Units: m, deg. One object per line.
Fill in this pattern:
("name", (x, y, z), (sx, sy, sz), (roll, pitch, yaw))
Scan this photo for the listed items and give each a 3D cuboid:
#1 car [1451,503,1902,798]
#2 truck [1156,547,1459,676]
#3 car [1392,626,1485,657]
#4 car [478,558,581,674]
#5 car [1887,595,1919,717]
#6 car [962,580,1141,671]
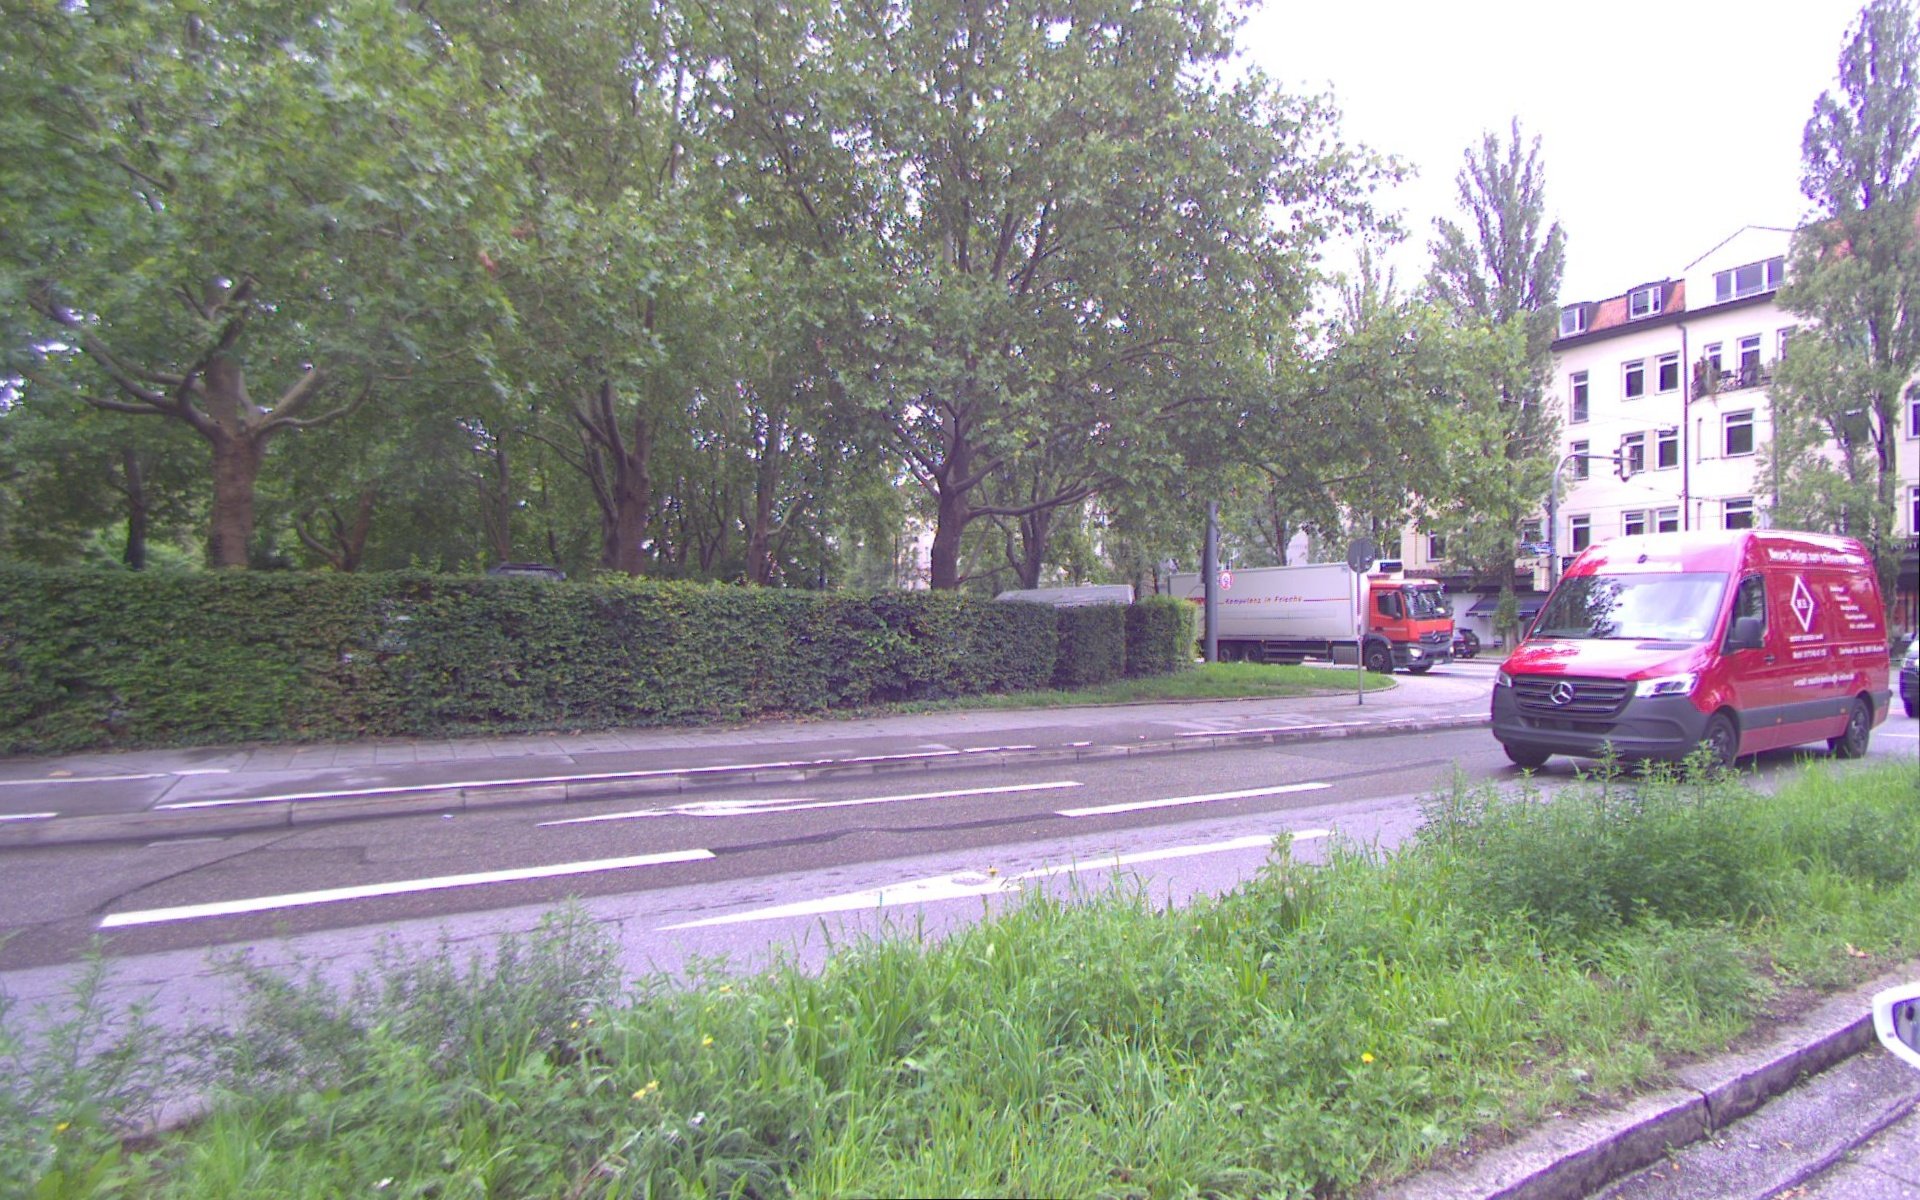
("car", (8.349, 0.476, 11.475), (6.014, 2.623, 2.092), (0, -1, -33))
("truck", (12.165, 0.494, 37.034), (2.716, 4.033, 11.623), (0, -1, -30))
("car", (26.119, 2.256, 55.018), (1.706, 1.633, 4.435), (1, -2, -30))
("car", (-10.902, 0.359, 25.176), (1.974, 2.569, 5.823), (2, 0, -27))
("car", (18.067, 0.951, 17.368), (4.653, 2.017, 1.847), (1, -2, -32))
("car", (2.530, 0.695, 27.391), (4.536, 2.040, 2.001), (-5, -1, 11))
